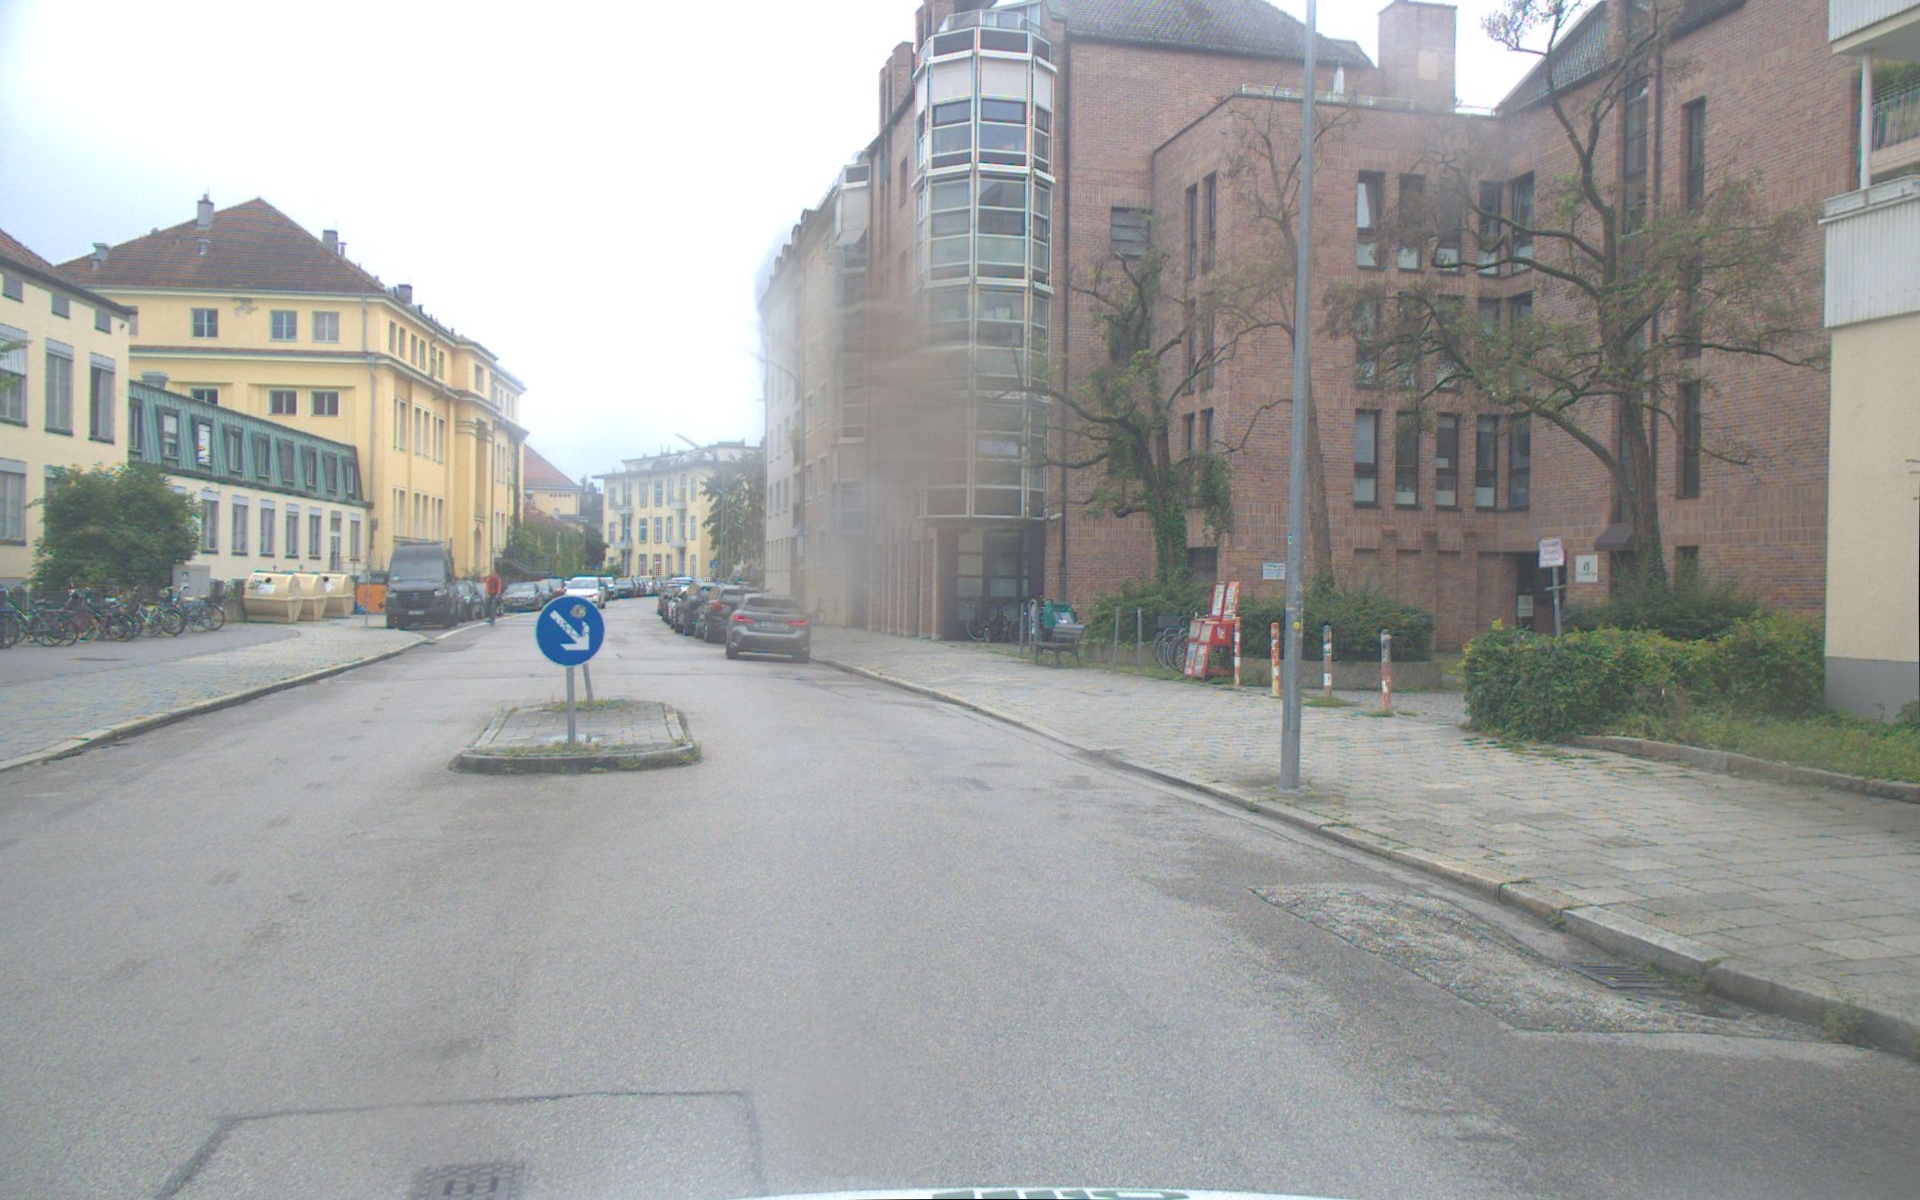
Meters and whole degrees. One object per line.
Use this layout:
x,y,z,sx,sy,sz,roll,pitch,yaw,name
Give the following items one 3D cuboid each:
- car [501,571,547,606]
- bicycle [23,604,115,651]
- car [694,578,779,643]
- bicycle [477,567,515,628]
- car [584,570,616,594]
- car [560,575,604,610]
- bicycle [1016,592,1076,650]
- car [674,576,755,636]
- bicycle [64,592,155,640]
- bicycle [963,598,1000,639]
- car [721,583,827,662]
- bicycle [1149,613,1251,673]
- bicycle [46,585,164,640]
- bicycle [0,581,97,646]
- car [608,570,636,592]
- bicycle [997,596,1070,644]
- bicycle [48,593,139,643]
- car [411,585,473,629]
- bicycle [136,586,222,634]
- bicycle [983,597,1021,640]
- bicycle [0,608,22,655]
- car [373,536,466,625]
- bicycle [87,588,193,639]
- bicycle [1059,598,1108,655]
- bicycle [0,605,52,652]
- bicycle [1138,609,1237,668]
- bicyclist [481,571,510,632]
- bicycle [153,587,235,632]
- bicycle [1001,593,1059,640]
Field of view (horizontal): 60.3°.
-21.289,-0.587,80.879,1.740,1.577,3.771,2,1,-9,car
-19.555,0.596,36.313,1.641,0.932,0.595,3,1,-2,bicycle
-6.391,0.266,46.930,1.800,1.629,4.249,2,1,-15,car
-15.981,-0.113,57.028,0.733,2.048,2.844,-1,1,-6,bicycle
-25.847,-1.316,118.786,1.957,1.575,3.992,2,1,-9,car
-19.404,-0.359,85.101,1.989,1.649,4.493,-1,-1,-11,car
1.937,0.465,37.581,0.525,1.270,2.401,2,-1,-17,bicycle
-7.747,0.159,51.780,1.932,1.629,4.653,2,1,-15,car
-20.168,0.379,39.226,1.829,1.047,0.539,3,1,-2,bicycle
0.568,0.493,44.729,0.478,1.078,1.988,2,0,-14,bicycle
-4.169,0.447,36.507,1.891,1.538,4.379,3,0,-12,car
4.257,0.759,29.394,1.670,0.982,0.545,2,1,-12,bicycle
-19.942,0.287,38.602,2.502,1.227,0.424,1,1,-2,bicycle
-19.414,0.280,34.787,2.062,1.249,0.787,3,1,-2,bicycle
-26.998,-1.541,132.211,1.957,1.575,3.992,2,1,-9,car
1.917,0.529,43.252,1.813,1.167,0.487,3,1,-6,bicycle
-19.826,0.409,37.871,1.755,1.051,0.507,3,1,-2,bicycle
-19.566,0.226,62.601,1.668,1.478,3.733,2,1,-10,car
-20.443,0.265,43.303,1.917,1.151,0.573,3,1,-2,bicycle
1.120,0.490,44.839,0.478,1.078,1.989,2,0,-14,bicycle
-19.114,0.584,31.932,1.685,0.877,0.439,3,1,-6,bicycle
-17.779,-0.616,54.721,2.380,2.762,5.933,0,0,-13,car
-20.145,0.328,40.658,2.264,1.154,0.581,3,1,-2,bicycle
2.687,0.561,35.871,0.412,1.193,1.358,3,1,32,bicycle
-18.949,0.561,33.027,1.345,0.877,0.439,3,1,-6,bicycle
4.124,0.704,30.014,1.670,0.982,0.545,2,1,-12,bicycle
-16.014,0.043,57.043,0.752,2.048,0.767,-3,1,-7,bicyclist
-20.791,0.245,44.926,1.866,1.111,0.677,3,1,-2,bicycle
1.842,0.433,43.702,1.448,1.167,0.382,3,1,-6,bicycle
